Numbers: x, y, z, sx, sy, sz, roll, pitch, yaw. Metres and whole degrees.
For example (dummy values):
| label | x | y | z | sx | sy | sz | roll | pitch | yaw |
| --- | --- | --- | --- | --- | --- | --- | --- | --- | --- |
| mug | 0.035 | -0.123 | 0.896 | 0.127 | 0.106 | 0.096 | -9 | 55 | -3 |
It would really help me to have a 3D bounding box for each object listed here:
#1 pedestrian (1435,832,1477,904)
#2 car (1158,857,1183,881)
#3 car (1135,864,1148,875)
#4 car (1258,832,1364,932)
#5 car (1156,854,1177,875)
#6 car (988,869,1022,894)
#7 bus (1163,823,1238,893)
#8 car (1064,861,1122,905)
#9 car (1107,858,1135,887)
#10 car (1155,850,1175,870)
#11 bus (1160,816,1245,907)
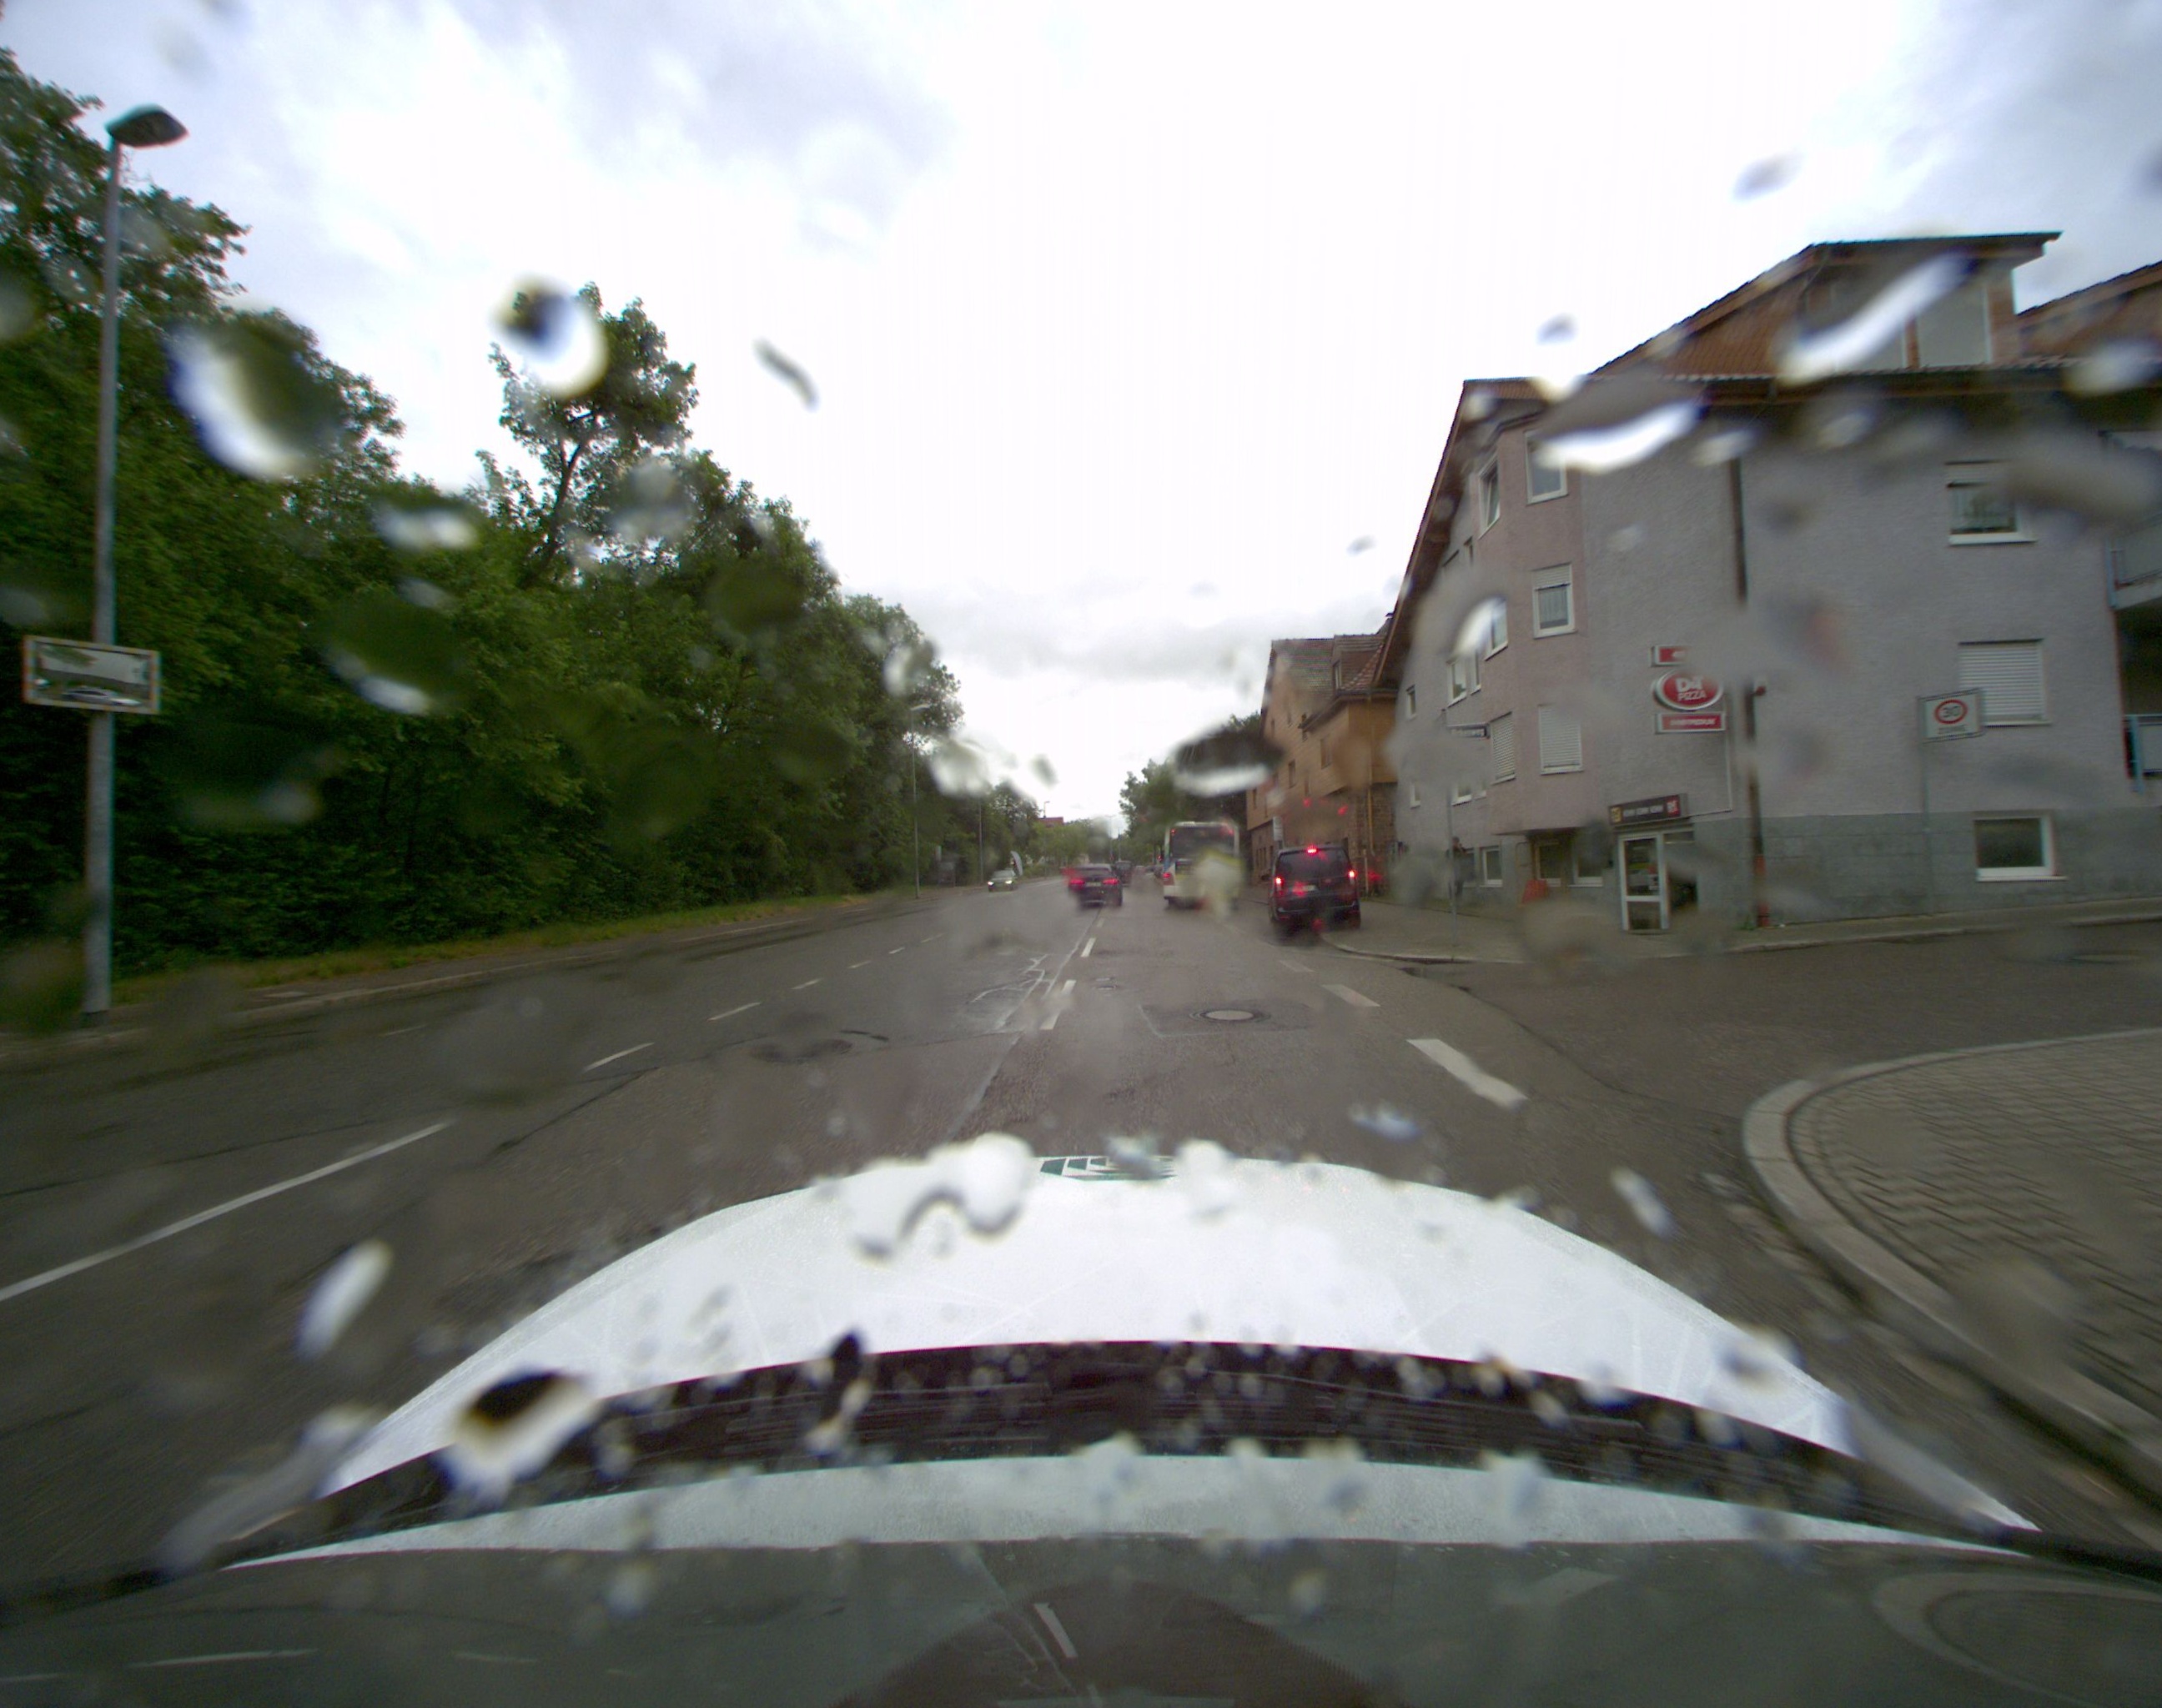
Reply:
| label | x | y | z | sx | sy | sz | roll | pitch | yaw |
| --- | --- | --- | --- | --- | --- | --- | --- | --- | --- |
| pedestrian | 9.582 | 0.354 | 20.848 | 0.687 | 1.754 | 0.670 | -3 | -1 | 2 |
| car | 8.412 | 1.376 | 77.033 | 1.986 | 2.013 | 4.002 | -2 | 1 | 2 |
| car | 9.433 | 2.376 | 128.065 | 1.858 | 1.519 | 4.002 | -2 | 1 | 2 |
| car | 5.173 | 0.604 | 18.912 | 1.914 | 1.892 | 4.776 | -5 | -2 | 12 |
| car | 9.124 | 1.106 | 87.046 | 1.986 | 2.013 | 4.002 | -2 | 1 | 2 |
| car | -5.334 | 1.897 | 57.696 | 1.763 | 1.533 | 4.002 | -3 | 0 | 2 |
| bus | 5.570 | 0.158 | 39.465 | 2.612 | 2.847 | 9.802 | -3 | 0 | 3 |
| car | 0.519 | 1.017 | 30.102 | 1.985 | 1.453 | 4.003 | 1 | 0 | 3 |
| car | 3.037 | 1.326 | 60.651 | 1.985 | 2.013 | 4.004 | -1 | 0 | 3 |
| car | 9.443 | 0.650 | 91.691 | 1.986 | 2.013 | 4.002 | -2 | 1 | 2 |
| bus | 4.593 | 0.221 | 30.597 | 2.608 | 2.847 | 8.309 | -3 | 0 | 9 |
